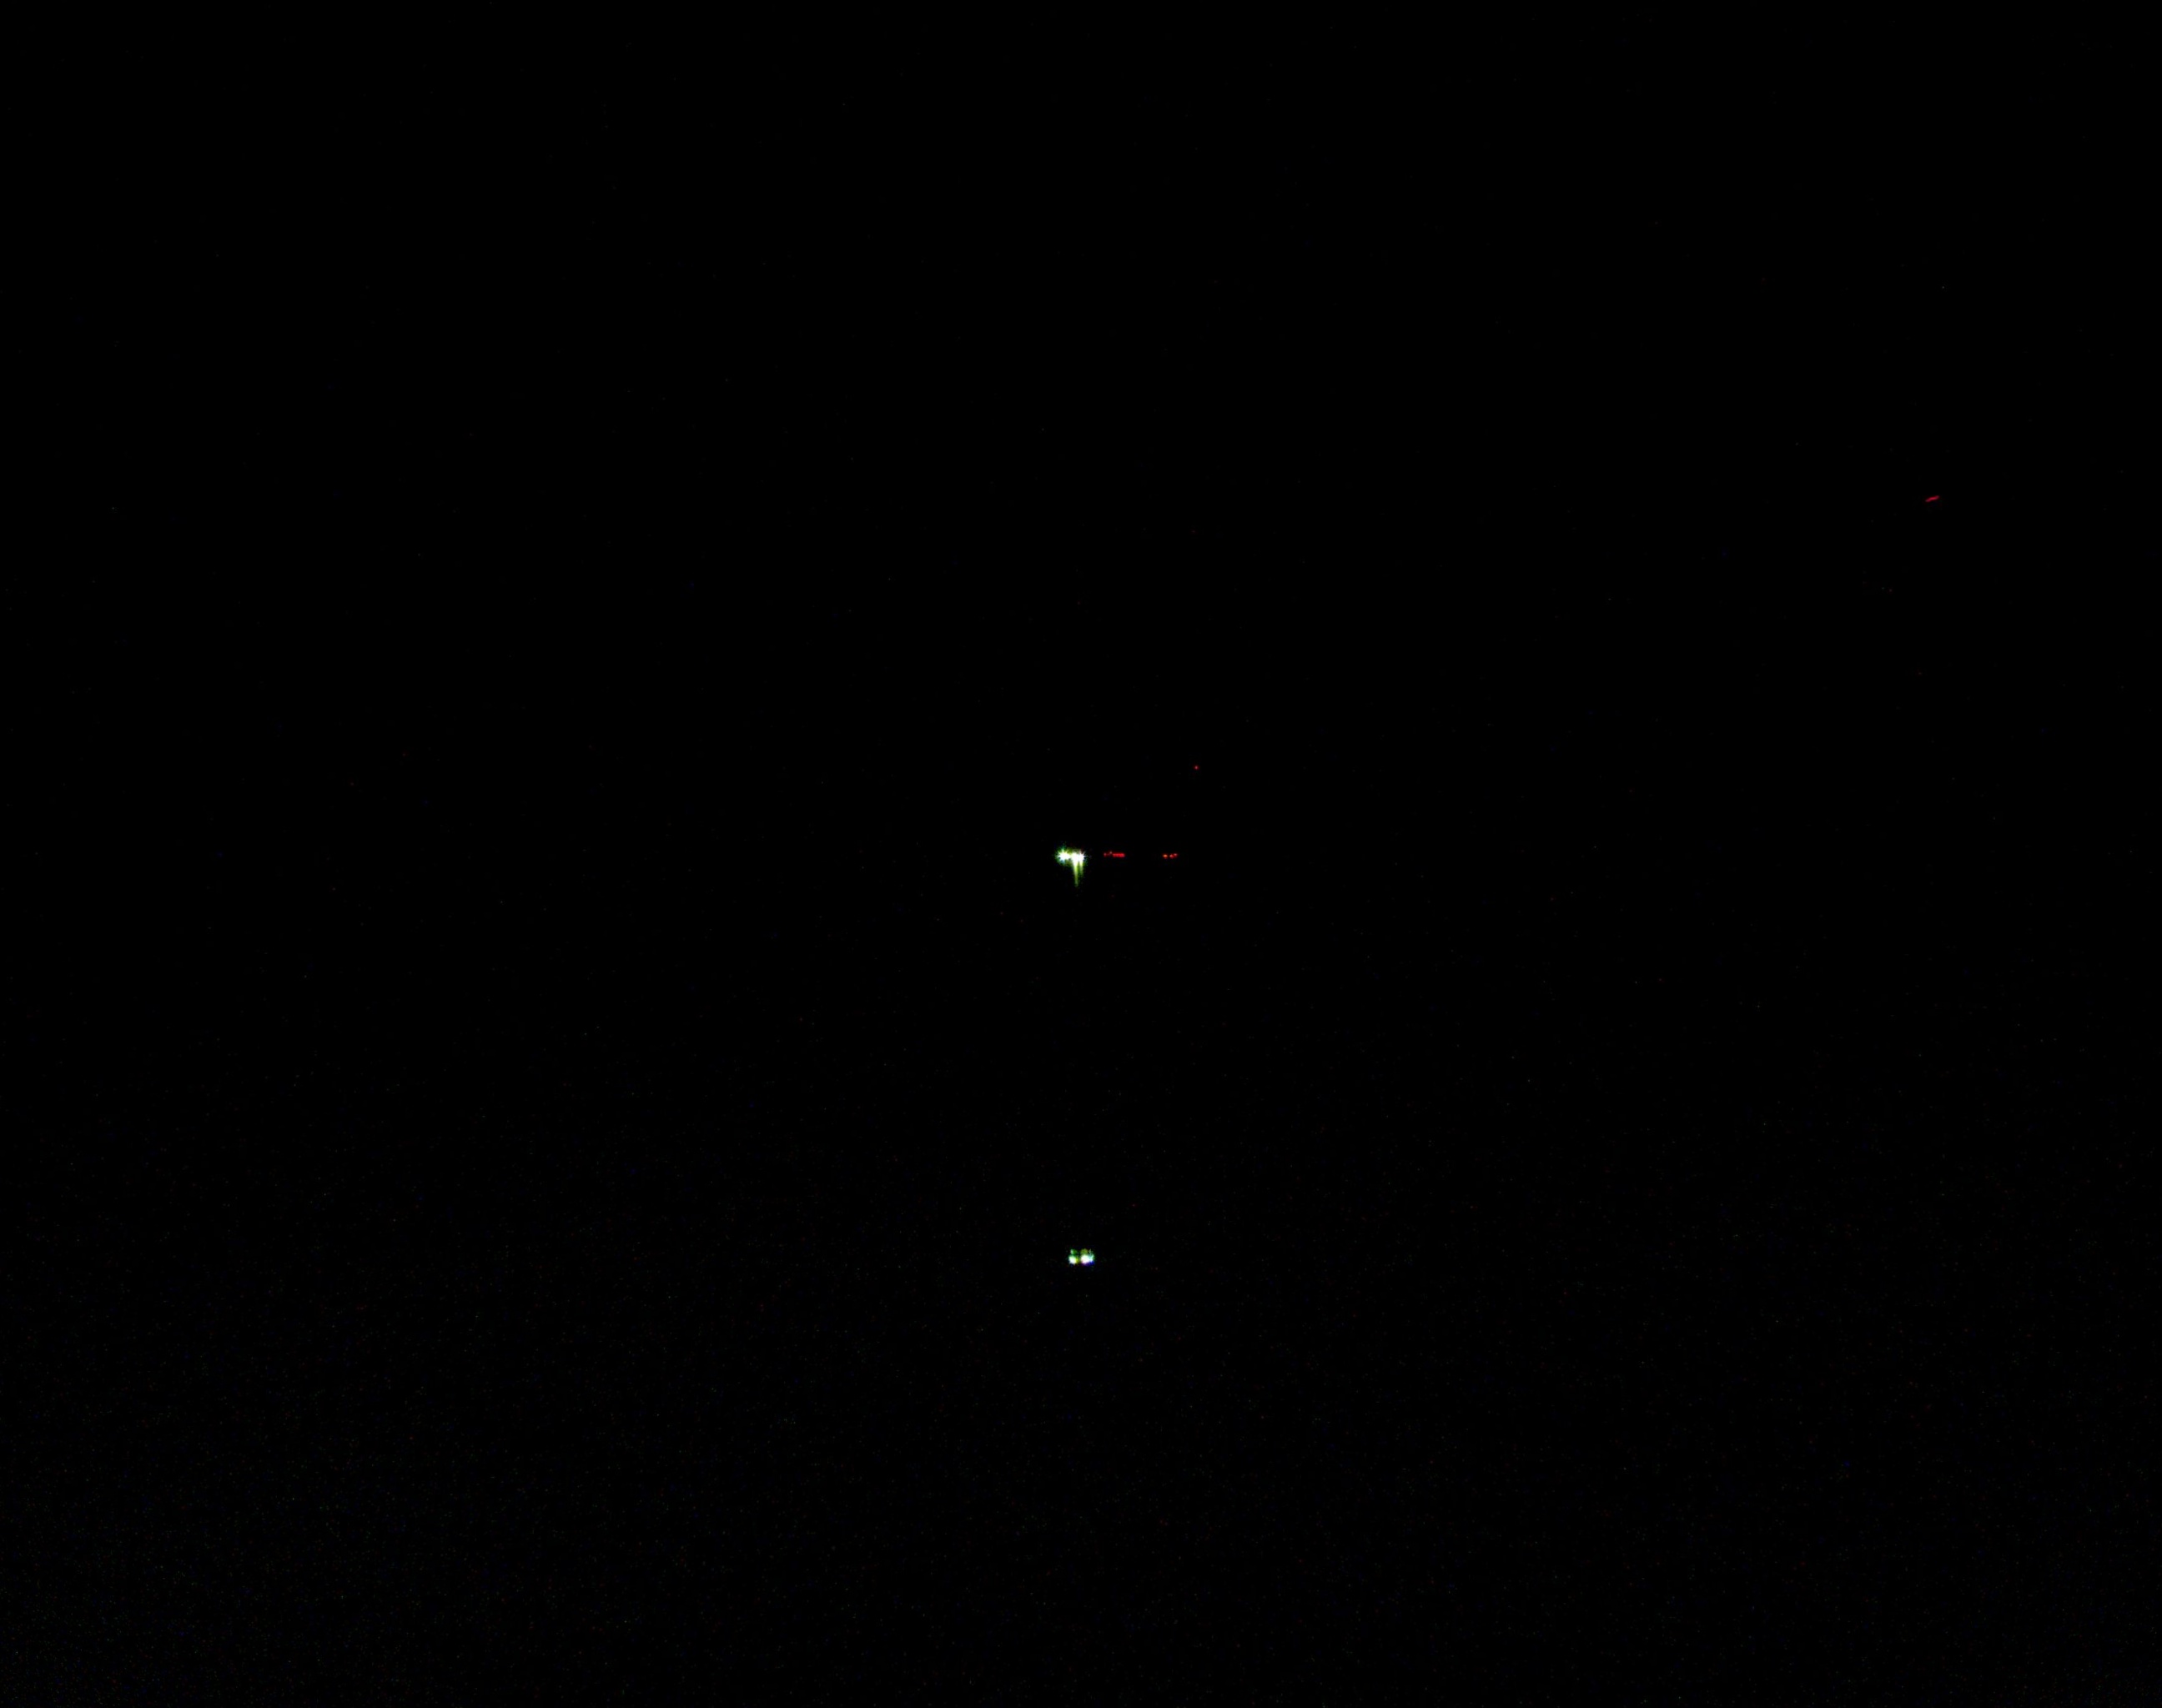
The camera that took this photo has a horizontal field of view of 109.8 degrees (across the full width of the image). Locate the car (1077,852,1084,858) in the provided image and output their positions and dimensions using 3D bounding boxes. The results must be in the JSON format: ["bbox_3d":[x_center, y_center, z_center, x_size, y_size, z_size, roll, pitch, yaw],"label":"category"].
[{"bbox_3d":[-0.125,0.218,204.120,1.859,1.608,3.999,-2,1,0],"label":"car"}]

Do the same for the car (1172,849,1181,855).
[{"bbox_3d":[25.338,-0.574,201.654,1.796,1.471,3.999,-2,1,1],"label":"car"}]

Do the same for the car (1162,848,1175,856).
[{"bbox_3d":[19.025,-0.394,165.503,2.014,1.641,5.109,-2,1,0],"label":"car"}]
